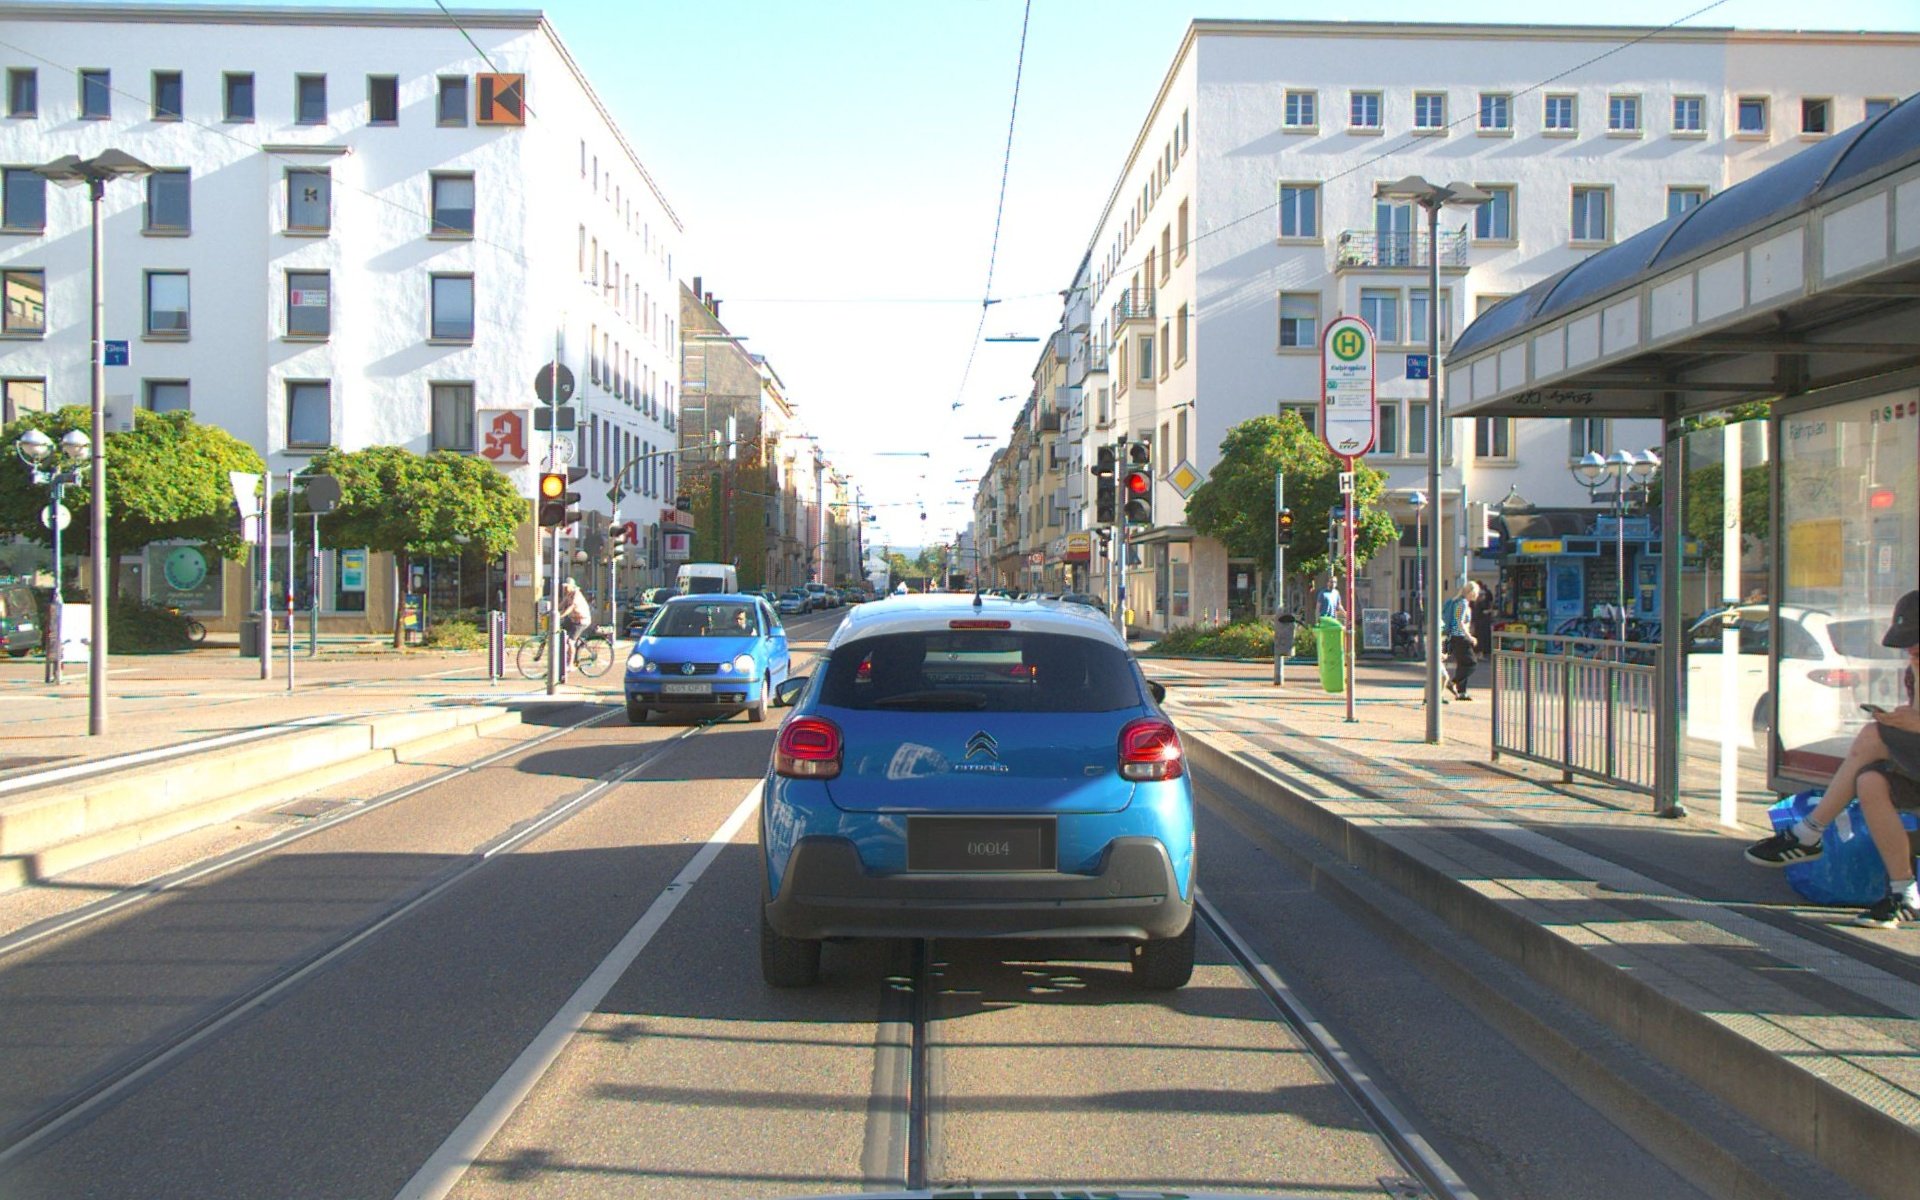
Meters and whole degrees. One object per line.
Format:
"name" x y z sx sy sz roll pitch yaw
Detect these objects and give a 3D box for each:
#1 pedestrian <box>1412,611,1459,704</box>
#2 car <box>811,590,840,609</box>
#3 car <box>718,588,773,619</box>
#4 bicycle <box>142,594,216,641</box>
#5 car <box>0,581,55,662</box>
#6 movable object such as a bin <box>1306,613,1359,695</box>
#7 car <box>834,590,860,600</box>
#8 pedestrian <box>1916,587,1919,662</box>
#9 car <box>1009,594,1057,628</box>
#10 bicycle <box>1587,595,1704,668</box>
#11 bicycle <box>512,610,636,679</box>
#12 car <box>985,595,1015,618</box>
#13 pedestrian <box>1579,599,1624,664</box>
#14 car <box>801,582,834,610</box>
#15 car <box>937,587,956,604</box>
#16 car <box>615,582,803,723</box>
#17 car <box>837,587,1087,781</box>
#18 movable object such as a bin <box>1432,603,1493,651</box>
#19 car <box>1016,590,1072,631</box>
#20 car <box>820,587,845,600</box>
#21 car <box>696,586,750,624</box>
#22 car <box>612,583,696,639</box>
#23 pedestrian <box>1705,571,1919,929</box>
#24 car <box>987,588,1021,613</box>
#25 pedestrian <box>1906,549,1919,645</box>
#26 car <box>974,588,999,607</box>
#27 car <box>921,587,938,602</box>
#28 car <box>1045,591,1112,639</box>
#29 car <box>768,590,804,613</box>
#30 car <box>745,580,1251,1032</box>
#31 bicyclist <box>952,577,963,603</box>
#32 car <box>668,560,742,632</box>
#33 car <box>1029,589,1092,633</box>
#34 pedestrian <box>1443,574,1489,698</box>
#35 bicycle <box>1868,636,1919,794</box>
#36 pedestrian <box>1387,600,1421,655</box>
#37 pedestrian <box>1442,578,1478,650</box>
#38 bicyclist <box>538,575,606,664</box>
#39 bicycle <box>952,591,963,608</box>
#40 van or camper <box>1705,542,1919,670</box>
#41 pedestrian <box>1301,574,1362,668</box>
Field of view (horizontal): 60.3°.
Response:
"pedestrian" 6.524 0.783 22.711 0.546 1.247 0.527 1 -1 10
"car" -11.151 -0.036 137.428 1.914 1.579 3.939 1 0 1
"car" -10.205 0.184 78.956 1.952 1.422 4.158 1 0 2
"bicycle" -20.629 0.440 43.751 0.605 1.211 2.621 0 0 2
"car" -22.394 0.455 36.405 3.906 1.736 1.825 0 0 -1
"movable object such as a bin" 3.720 0.529 16.538 0.439 0.800 0.489 0 0 2
"car" -12.664 -0.567 185.409 1.951 1.176 4.518 0 0 8
"pedestrian" 17.242 0.434 28.766 0.882 1.302 0.605 0 0 6
"car" 3.222 0.468 73.767 1.953 1.489 4.000 0 0 0
"bicycle" 15.756 0.716 38.040 2.336 1.558 0.726 2 0 -2
"bicycle" -6.610 0.747 28.375 1.954 1.132 0.721 1 0 -35
"car" 2.690 0.418 110.958 1.952 1.489 4.000 0 0 1
"pedestrian" 14.780 0.710 38.106 0.715 1.434 0.755 0 3 -1
"car" -10.980 -0.278 127.737 1.965 2.049 4.690 1 0 1
"car" -1.456 -0.514 176.019 1.953 1.803 3.999 0 0 -1
"car" -2.948 0.568 20.155 1.633 1.513 4.000 1 0 0
"car" -0.024 0.650 15.456 1.944 1.490 4.814 1 0 -1
"movable object such as a bin" 12.566 0.656 41.387 1.174 1.173 1.217 0 0 0
"car" 3.196 0.375 63.935 1.953 1.527 4.000 0 0 0
"car" -11.674 -0.615 151.532 1.953 1.176 4.000 0 0 0
"car" -10.036 0.215 70.359 1.850 1.522 3.560 1 0 -2
"car" -9.788 0.351 53.228 1.953 1.596 4.401 3 0 -2
"pedestrian" 3.568 0.549 6.310 0.978 1.246 0.923 3 -1 -1
"car" 2.712 0.008 103.088 1.953 1.489 4.504 0 0 0
"pedestrian" 17.501 -0.053 29.483 0.882 1.714 0.695 0 0 4
"car" 2.120 -0.223 134.163 1.953 1.489 4.000 0 0 0
"car" -3.951 -0.721 214.360 1.954 1.809 3.996 0 0 -5
"car" 3.792 0.464 53.392 1.870 1.489 4.000 0 0 0
"car" -10.923 0.115 104.249 1.953 1.348 3.921 1 0 -2
"car" 0.101 0.697 7.545 1.693 1.508 3.826 1 0 -1
"bicyclist" -0.221 -0.784 133.399 0.793 2.049 0.922 1 -1 -1
"car" -9.729 -0.159 63.590 2.043 2.586 6.203 1 0 -2
"car" 3.482 0.374 57.838 1.953 1.489 4.000 0 0 0
"pedestrian" 7.333 0.514 23.977 0.546 1.775 0.527 1 -1 10
"bicycle" 7.241 0.833 10.886 0.708 1.080 2.310 2 0 -20
"pedestrian" 10.797 0.662 40.188 0.725 1.339 0.628 0 0 22
"pedestrian" 13.181 0.370 43.601 0.768 1.871 0.678 0 0 2
"bicyclist" -6.650 0.333 28.347 0.867 1.481 0.820 2 -1 -35
"bicycle" -0.215 -0.041 133.268 0.901 1.413 3.131 0 0 -1
"van or camper" 20.974 0.103 37.626 6.976 2.795 2.371 0 2 0
"pedestrian" 7.679 0.429 34.190 0.961 1.910 1.128 0 -1 -3
